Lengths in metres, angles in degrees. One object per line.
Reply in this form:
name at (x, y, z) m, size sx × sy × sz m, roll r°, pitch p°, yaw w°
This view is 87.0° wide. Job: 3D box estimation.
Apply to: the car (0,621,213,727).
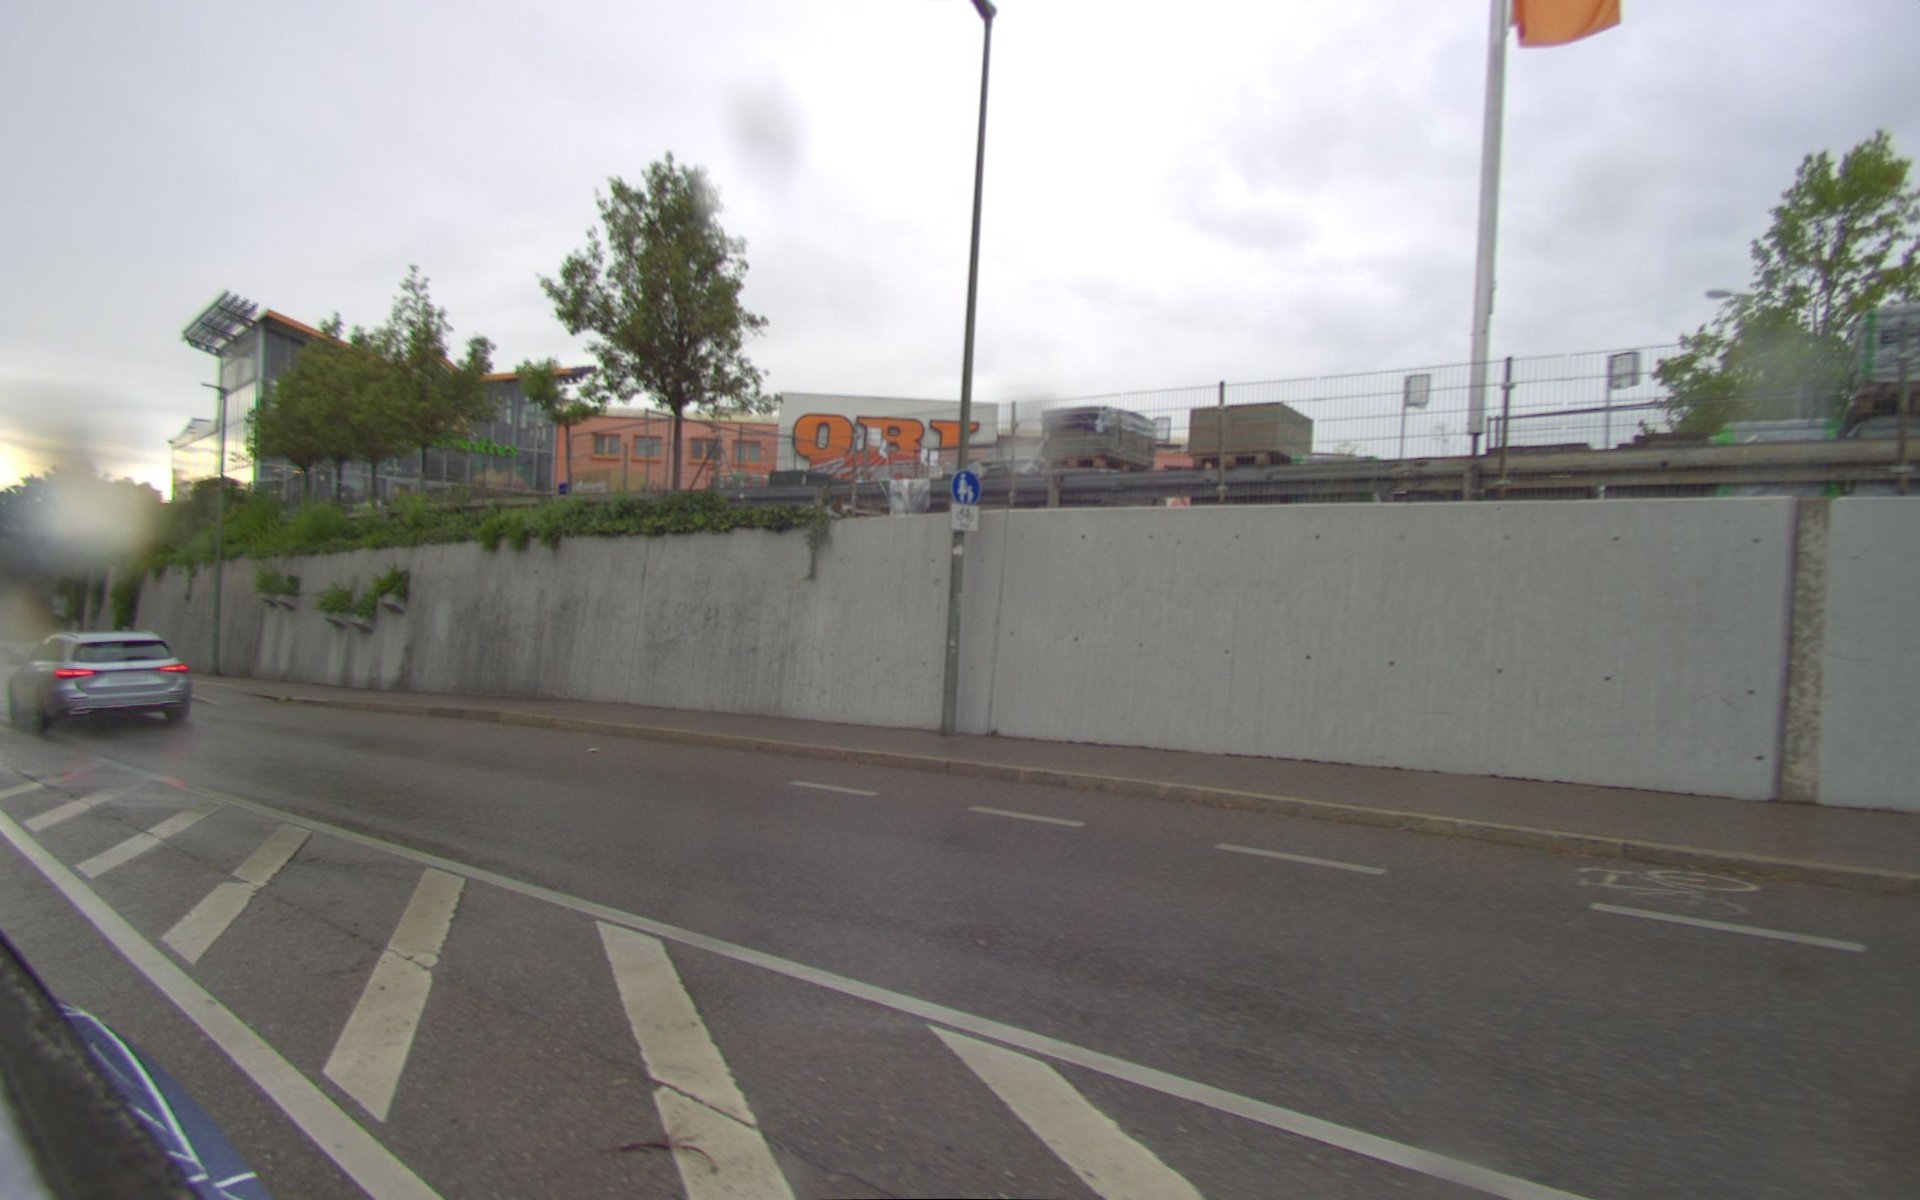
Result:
car at (-13.992, 1.104, 16.294) m, size 4.774 × 1.437 × 1.982 m, roll -2°, pitch -1°, yaw 38°
